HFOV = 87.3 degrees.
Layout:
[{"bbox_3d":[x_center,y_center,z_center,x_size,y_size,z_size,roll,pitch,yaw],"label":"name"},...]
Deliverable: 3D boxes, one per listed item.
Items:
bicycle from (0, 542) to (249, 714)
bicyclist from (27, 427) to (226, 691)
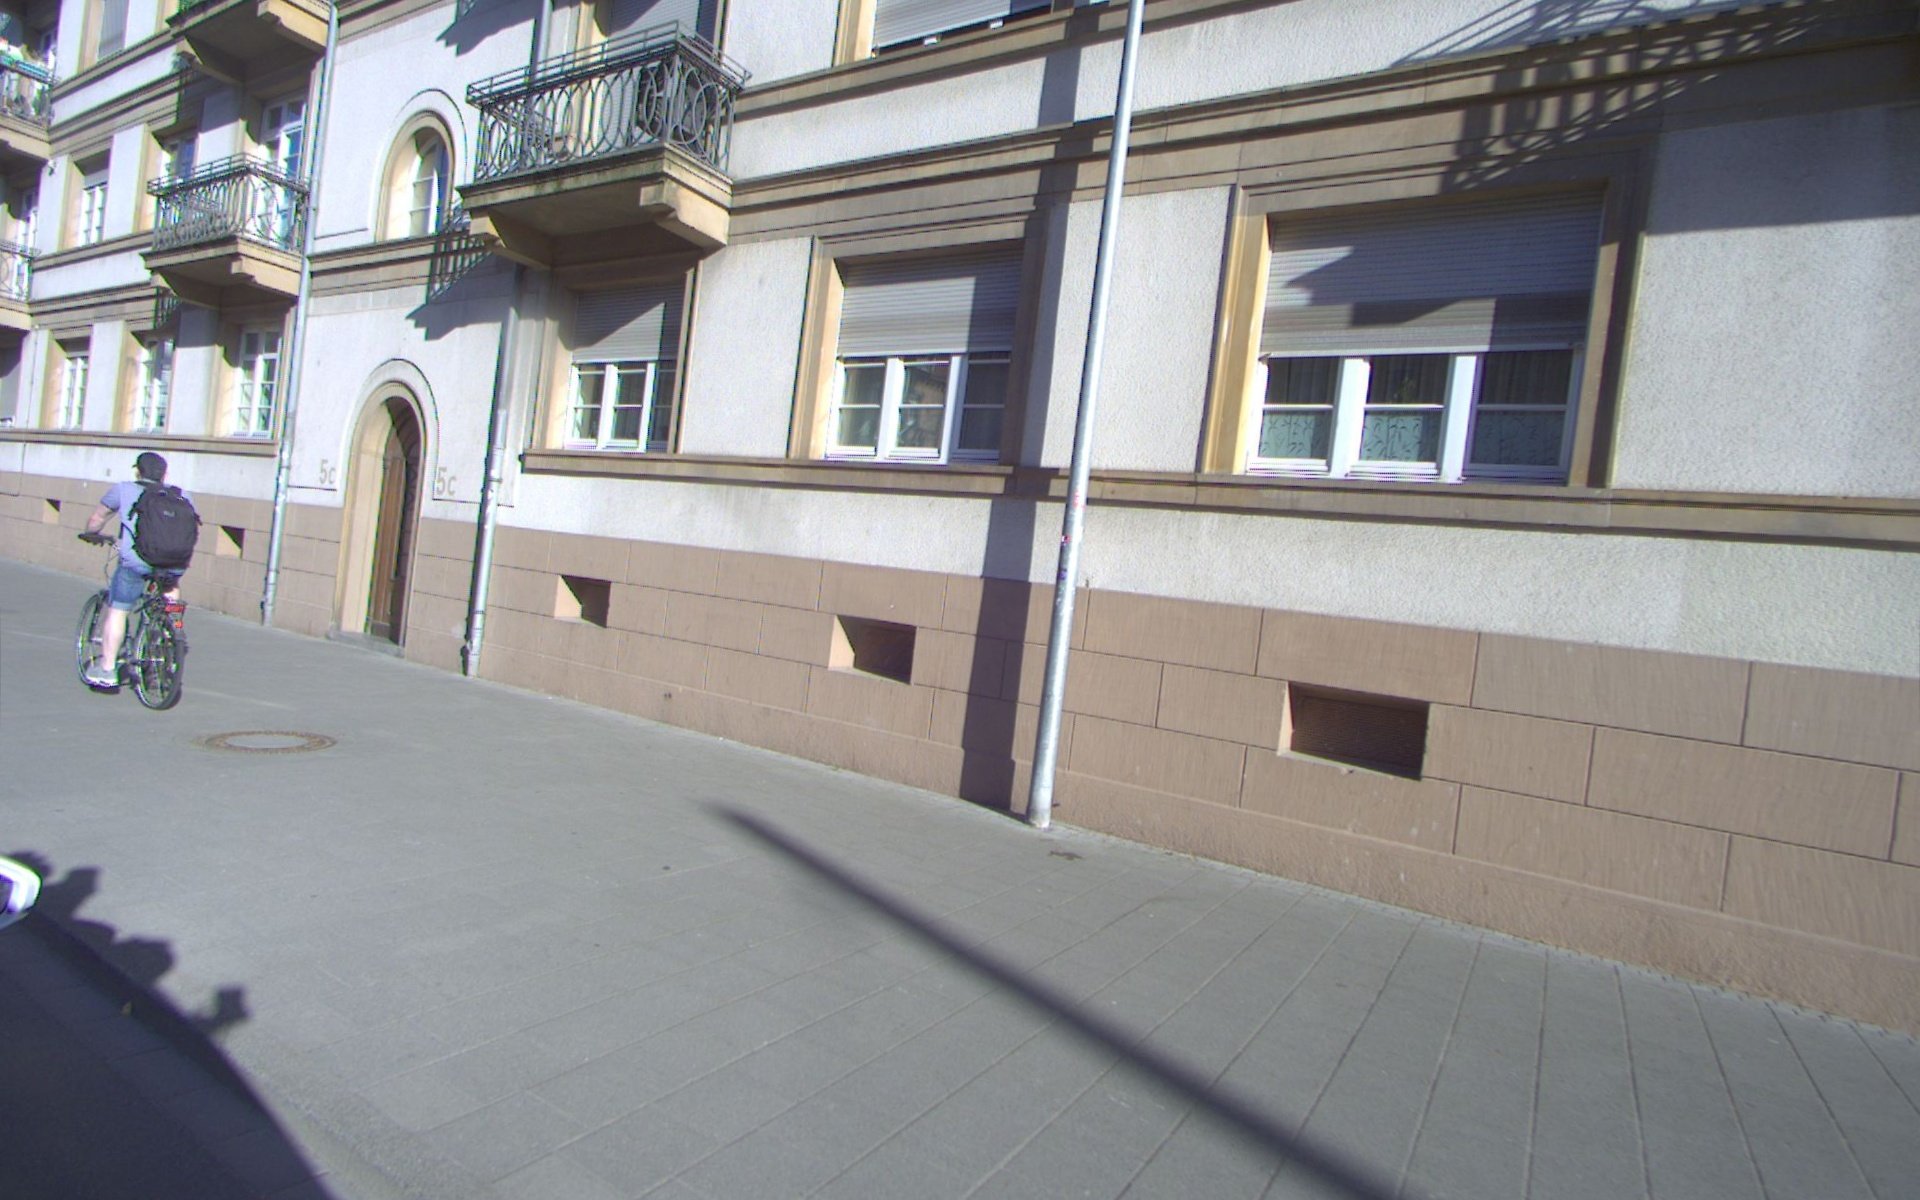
[{"bbox_3d":[-6.221,0.177,7.399,2.161,0.965,0.768,7,0,32],"label":"bicycle"},{"bbox_3d":[-6.099,-0.292,7.366,0.922,1.785,0.733,7,1,31],"label":"bicyclist"}]
